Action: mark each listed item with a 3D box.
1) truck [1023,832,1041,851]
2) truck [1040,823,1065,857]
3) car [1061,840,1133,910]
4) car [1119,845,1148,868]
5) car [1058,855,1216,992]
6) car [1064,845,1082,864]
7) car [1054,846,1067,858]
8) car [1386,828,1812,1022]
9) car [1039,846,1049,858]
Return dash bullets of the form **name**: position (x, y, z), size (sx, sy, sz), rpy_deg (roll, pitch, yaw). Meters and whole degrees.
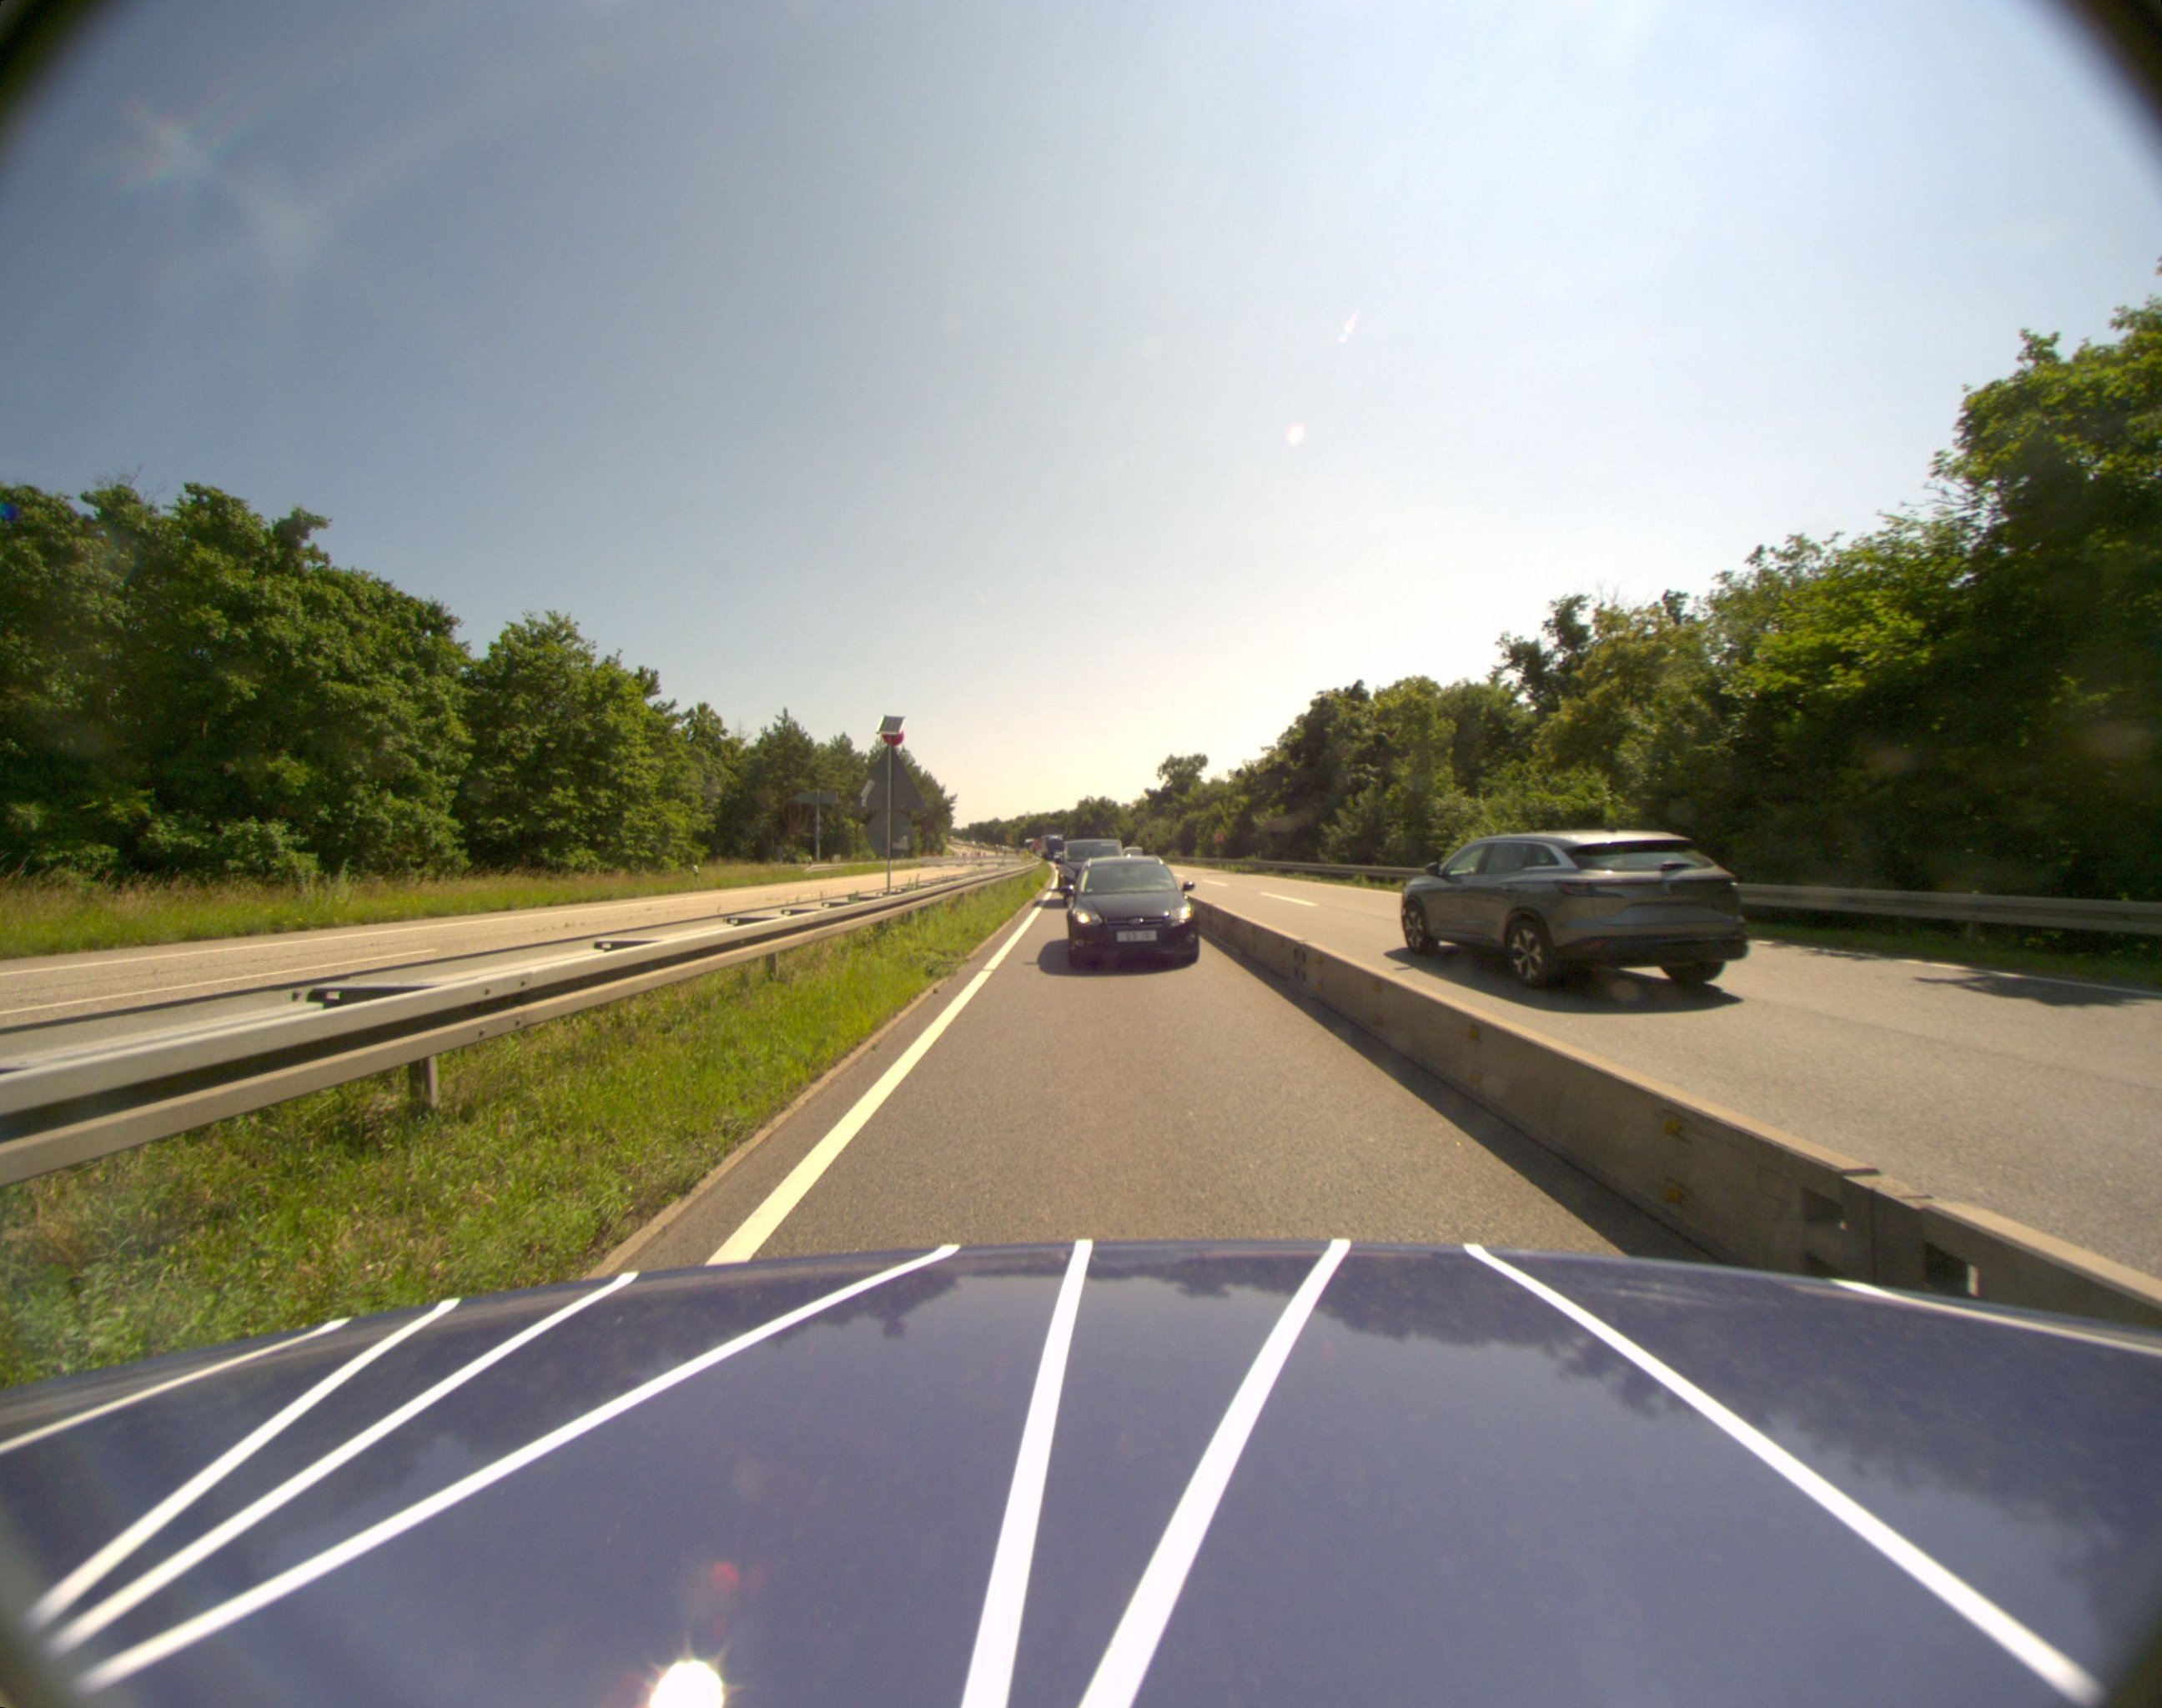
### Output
- **truck**: position (-11.783, -2.970, 182.665), size (3.831, 4.265, 11.239), rpy_deg (-1, 1, -6)
- **truck**: position (-4.705, -2.202, 122.527), size (3.830, 5.267, 11.241), rpy_deg (-1, 1, -3)
- **car**: position (0.482, 0.577, 23.390), size (1.959, 1.901, 4.935), rpy_deg (-1, 0, 1)
- **car**: position (4.233, 0.154, 62.073), size (1.761, 1.754, 4.282), rpy_deg (-2, 1, -4)
- **car**: position (0.672, 0.832, 11.540), size (1.846, 1.537, 4.935), rpy_deg (-2, 1, 0)
- **car**: position (-0.765, 0.008, 69.803), size (1.527, 1.647, 3.979), rpy_deg (-1, 1, -2)
- **car**: position (-2.869, -0.325, 105.771), size (1.528, 1.647, 3.752), rpy_deg (0, 1, -6)
- **car**: position (5.379, 0.600, 8.777), size (1.862, 1.629, 4.383), rpy_deg (-2, 1, -1)
- **car**: position (-6.977, -0.397, 143.631), size (1.527, 1.649, 3.975), rpy_deg (-9, 5, -6)
